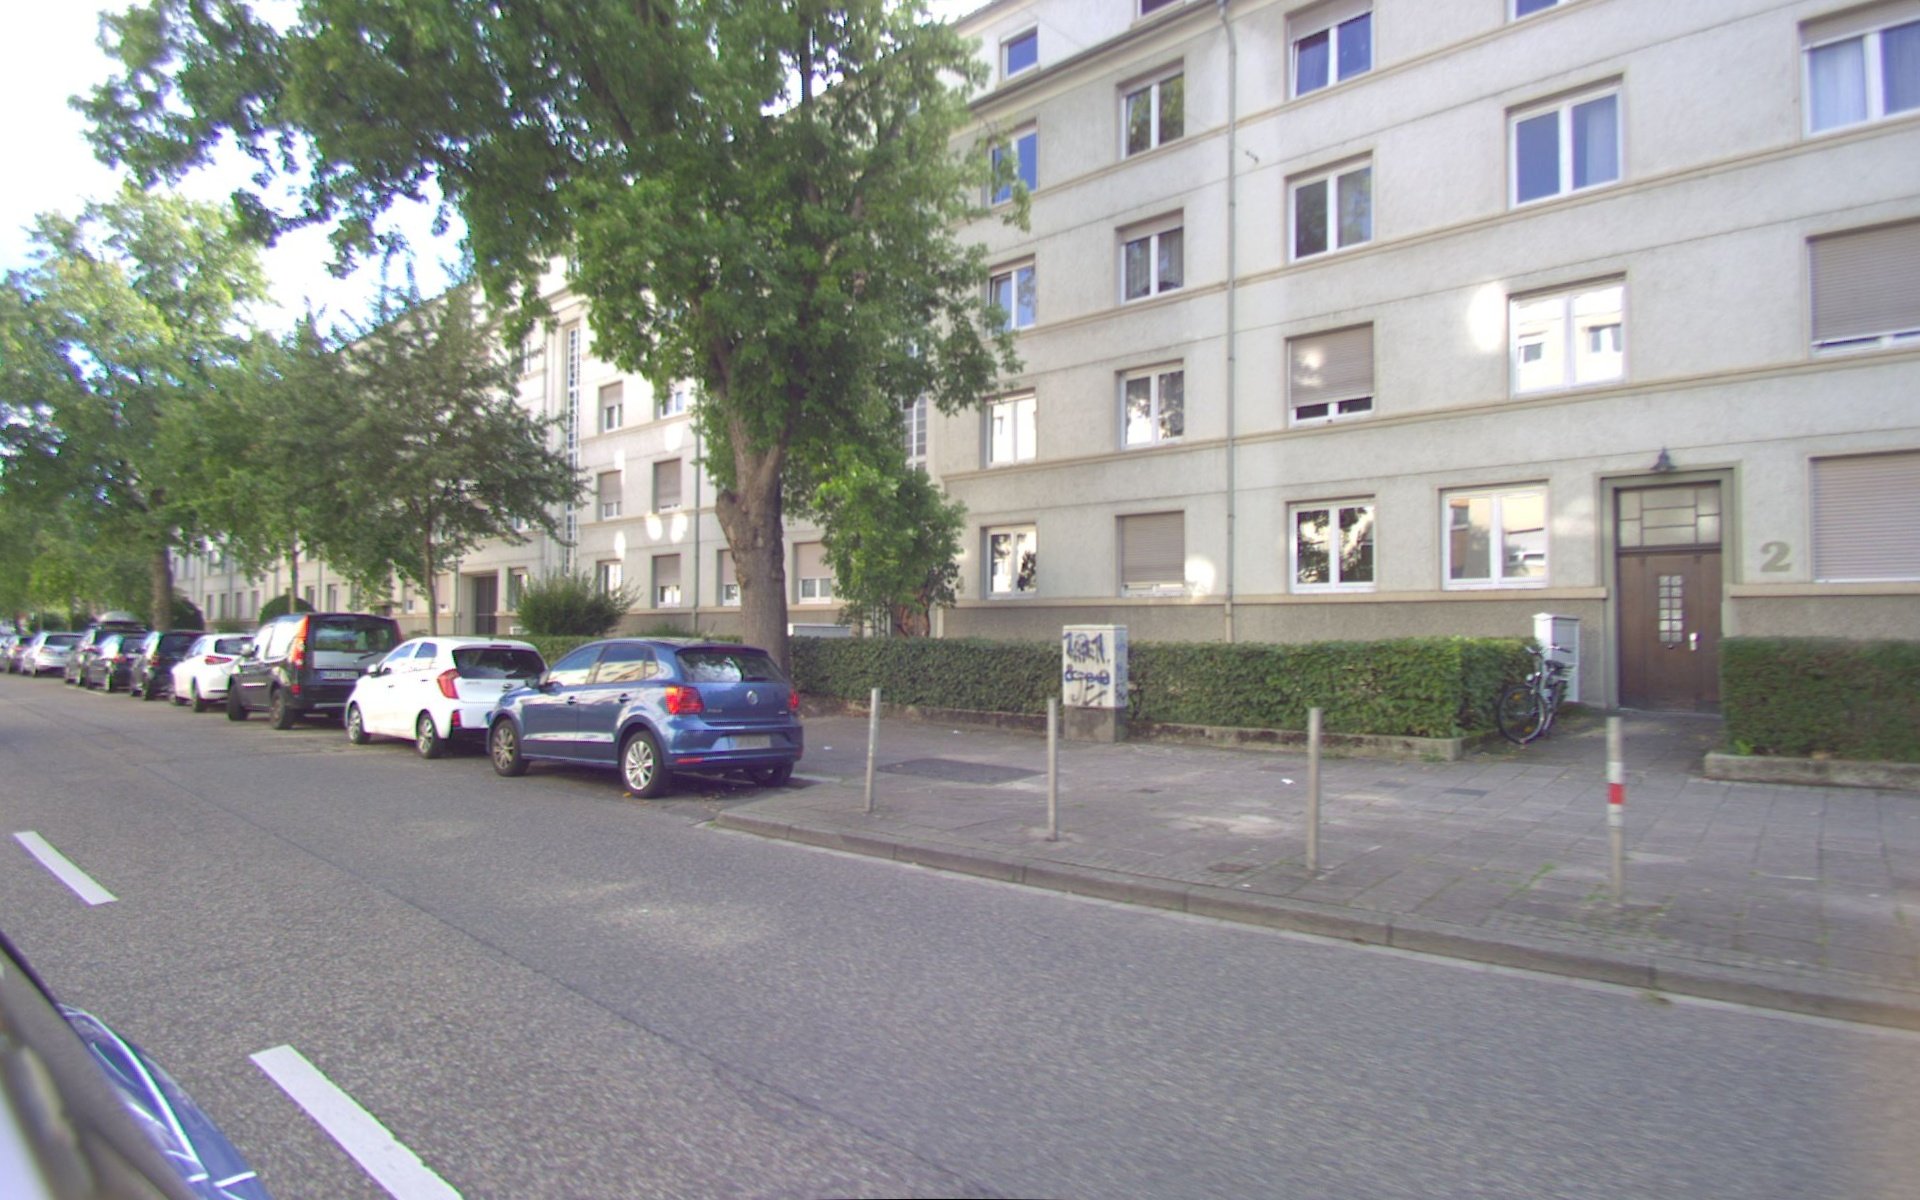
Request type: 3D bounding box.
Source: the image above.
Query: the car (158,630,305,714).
[{"bbox_3d":[-14.764,1.407,20.426,4.334,1.504,1.675,-2,-5,45],"label":"car"}]

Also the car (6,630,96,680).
[{"bbox_3d":[-31.957,1.925,35.553,3.991,1.632,1.721,-2,-5,40],"label":"car"}]

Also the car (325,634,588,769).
[{"bbox_3d":[-6.679,1.246,13.271,3.802,1.505,1.780,-2,-5,42],"label":"car"}]

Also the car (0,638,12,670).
[{"bbox_3d":[-47.279,2.542,48.951,4.118,1.492,1.667,-2,-6,42],"label":"car"}]

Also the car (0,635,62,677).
[{"bbox_3d":[-35.616,2.108,38.391,4.009,1.479,1.598,-2,-6,39],"label":"car"}]

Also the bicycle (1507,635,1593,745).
[{"bbox_3d":[6.714,0.970,11.478,0.597,1.140,1.849,-2,-3,37],"label":"bicycle"}]

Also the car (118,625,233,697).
[{"bbox_3d":[-18.082,1.399,23.298,3.016,1.532,1.536,-2,-5,43],"label":"car"}]

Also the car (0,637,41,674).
[{"bbox_3d":[-39.345,2.273,41.691,3.960,1.429,1.584,-2,-6,40],"label":"car"}]

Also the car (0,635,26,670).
[{"bbox_3d":[-43.379,2.342,45.534,4.453,1.492,1.666,-2,-6,44],"label":"car"}]

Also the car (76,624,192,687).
[{"bbox_3d":[-21.182,1.423,25.906,3.847,1.498,1.682,-2,-5,42],"label":"car"}]

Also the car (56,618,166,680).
[{"bbox_3d":[-24.849,1.443,29.573,4.481,1.681,1.780,-2,-5,42],"label":"car"}]

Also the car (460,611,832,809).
[{"bbox_3d":[-3.273,1.012,10.276,3.799,1.632,1.781,-2,-5,40],"label":"car"}]

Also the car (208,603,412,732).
[{"bbox_3d":[-10.957,1.095,16.960,4.189,1.897,1.705,-2,-5,41],"label":"car"}]

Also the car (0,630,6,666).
[{"bbox_3d":[-51.279,2.448,52.573,4.967,1.807,1.858,-2,-5,40],"label":"car"}]
